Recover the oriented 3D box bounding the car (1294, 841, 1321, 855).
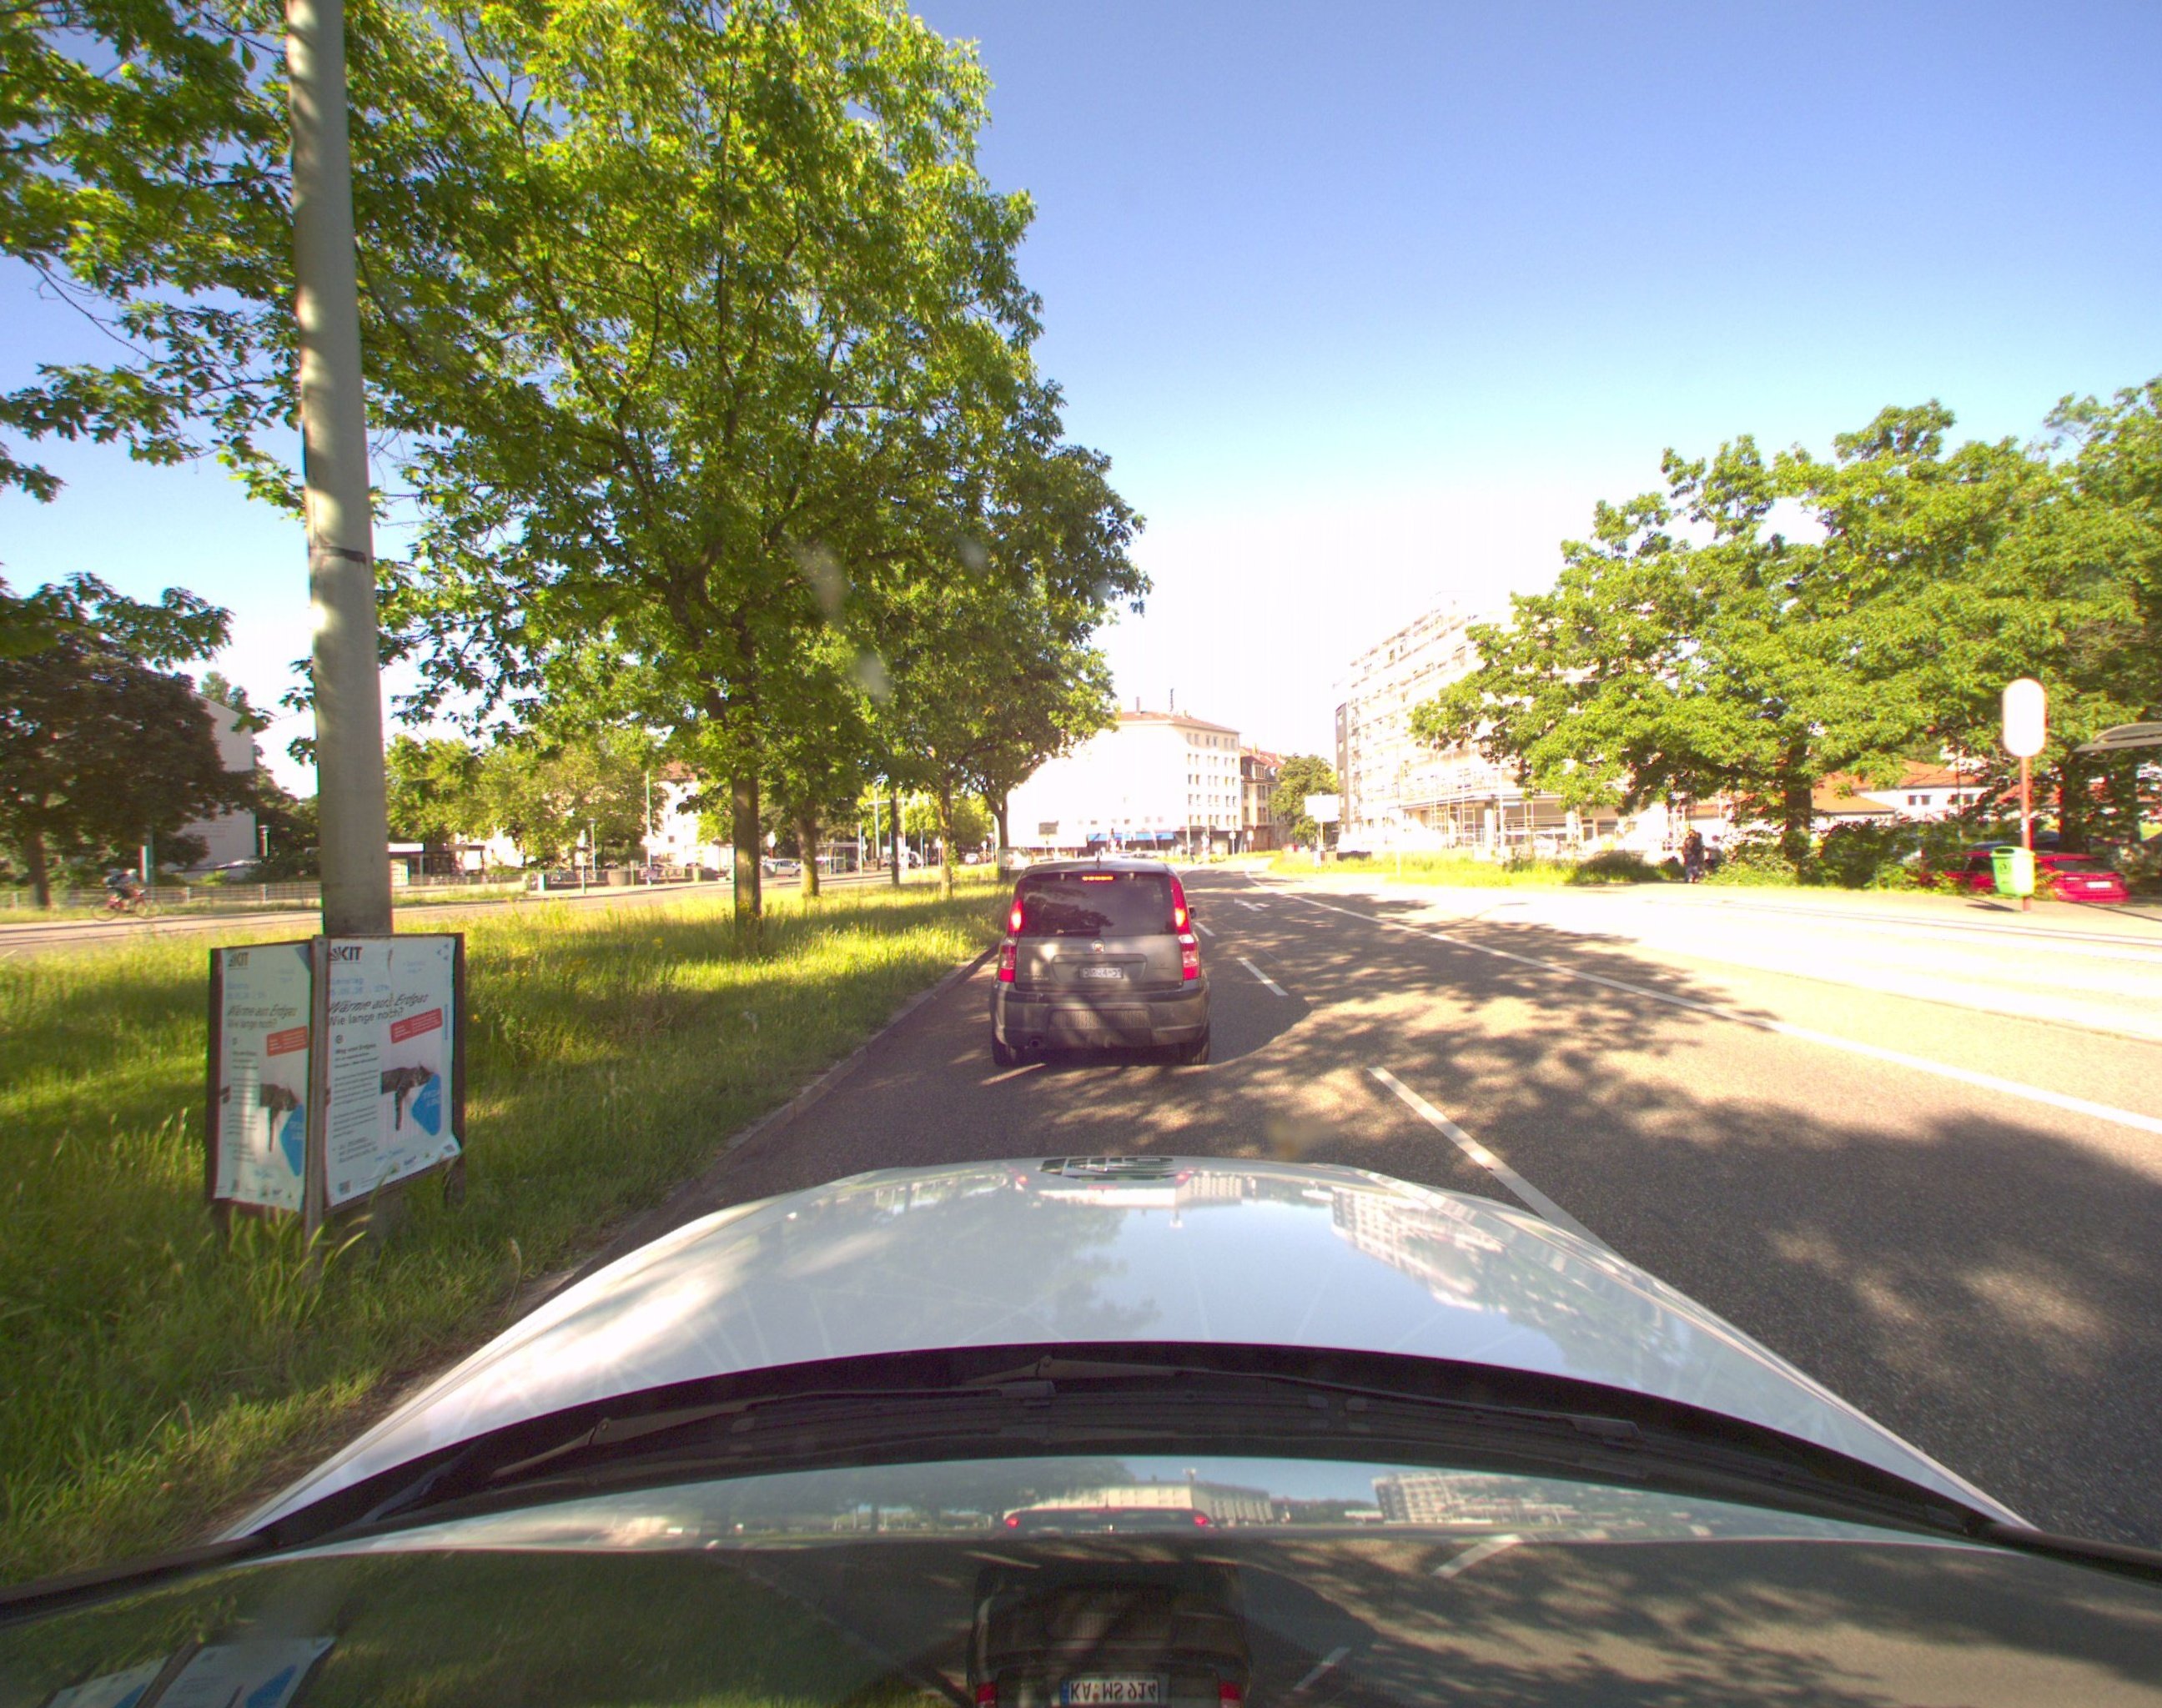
[{"bbox_3d":[25.076,-0.623,89.967,1.757,1.442,3.642,-1,1,34],"label":"car"}]

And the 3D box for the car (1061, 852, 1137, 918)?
[{"bbox_3d":[0.482,0.735,21.427,1.753,1.486,4.295,-2,0,2],"label":"car"}]

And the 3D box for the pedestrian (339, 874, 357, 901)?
[{"bbox_3d":[-50.056,2.289,55.632,0.553,1.829,0.731,-2,0,23],"label":"pedestrian"}]

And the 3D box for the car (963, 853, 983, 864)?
[{"bbox_3d":[-14.424,0.604,108.699,1.986,1.310,4.002,-2,0,2],"label":"car"}]

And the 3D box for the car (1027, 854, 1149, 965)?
[{"bbox_3d":[0.155,0.749,12.902,1.615,1.429,3.690,-2,0,2],"label":"car"}]

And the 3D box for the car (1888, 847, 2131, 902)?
[{"bbox_3d":[21.902,0.428,19.465,1.392,1.154,3.912,-2,0,1],"label":"car"}]

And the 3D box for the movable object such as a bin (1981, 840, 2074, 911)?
[{"bbox_3d":[14.361,0.318,12.373,0.724,1.030,0.578,-2,0,1],"label":"movable object such as a bin"}]

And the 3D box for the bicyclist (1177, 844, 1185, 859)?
[{"bbox_3d":[9.113,-0.244,74.476,0.530,1.357,0.595,-2,0,-10],"label":"bicyclist"}]

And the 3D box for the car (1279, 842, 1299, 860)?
[{"bbox_3d":[24.166,-0.321,94.658,1.977,2.014,4.019,-1,-1,18],"label":"car"}]

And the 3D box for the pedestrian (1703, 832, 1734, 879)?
[{"bbox_3d":[20.870,0.036,26.657,0.525,1.518,0.614,-2,0,4],"label":"pedestrian"}]

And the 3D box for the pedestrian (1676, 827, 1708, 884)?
[{"bbox_3d":[18.595,0.036,24.788,0.600,1.700,0.410,-2,0,1],"label":"pedestrian"}]

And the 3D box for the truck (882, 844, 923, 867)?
[{"bbox_3d":[-19.890,0.171,90.834,4.085,2.426,1.793,-2,0,-2],"label":"truck"}]

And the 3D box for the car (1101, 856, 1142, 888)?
[{"bbox_3d":[1.844,0.762,36.102,1.683,1.253,3.630,-2,0,4],"label":"car"}]

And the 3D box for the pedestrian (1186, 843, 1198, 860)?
[{"bbox_3d":[9.484,-0.211,69.624,0.774,1.427,0.935,0,-1,-12],"label":"pedestrian"}]

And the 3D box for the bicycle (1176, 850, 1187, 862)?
[{"bbox_3d":[9.144,0.187,74.358,0.530,1.090,1.580,-2,0,-10],"label":"bicycle"}]

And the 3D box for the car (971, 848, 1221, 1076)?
[{"bbox_3d":[0.197,0.728,7.159,1.653,1.510,3.254,-2,0,3],"label":"car"}]

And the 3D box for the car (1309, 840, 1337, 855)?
[{"bbox_3d":[27.941,-0.754,94.030,1.802,1.508,4.026,-2,1,35],"label":"car"}]

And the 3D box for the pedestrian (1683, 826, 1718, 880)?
[{"bbox_3d":[19.188,-0.027,25.232,0.619,1.634,0.552,-2,0,2],"label":"pedestrian"}]

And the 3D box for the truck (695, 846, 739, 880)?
[{"bbox_3d":[-33.336,0.834,74.511,4.768,2.994,2.012,-1,1,44],"label":"truck"}]

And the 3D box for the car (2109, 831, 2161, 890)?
[{"bbox_3d":[29.417,0.247,20.153,1.984,1.537,4.897,0,2,5],"label":"car"}]

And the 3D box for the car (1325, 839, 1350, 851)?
[{"bbox_3d":[37.897,-1.342,120.322,1.905,1.593,3.985,-2,0,-11],"label":"car"}]

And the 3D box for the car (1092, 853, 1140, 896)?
[{"bbox_3d":[1.316,0.706,30.162,1.639,1.438,3.399,-2,0,3],"label":"car"}]

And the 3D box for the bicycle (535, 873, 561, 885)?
[{"bbox_3d":[-43.079,2.003,65.794,1.695,0.839,0.541,-2,0,-41],"label":"bicycle"}]

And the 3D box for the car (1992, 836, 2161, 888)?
[{"bbox_3d":[33.657,0.263,27.280,1.984,1.607,4.006,0,-1,5],"label":"car"}]

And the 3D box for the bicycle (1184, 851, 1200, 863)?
[{"bbox_3d":[9.499,0.255,69.566,0.783,0.951,1.849,0,-1,-11],"label":"bicycle"}]

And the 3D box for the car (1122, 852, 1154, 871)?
[{"bbox_3d":[4.092,0.506,58.131,1.982,1.243,4.010,-1,0,8],"label":"car"}]

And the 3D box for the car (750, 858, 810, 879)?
[{"bbox_3d":[-26.543,1.249,71.856,1.849,1.544,4.576,2,3,45],"label":"car"}]
